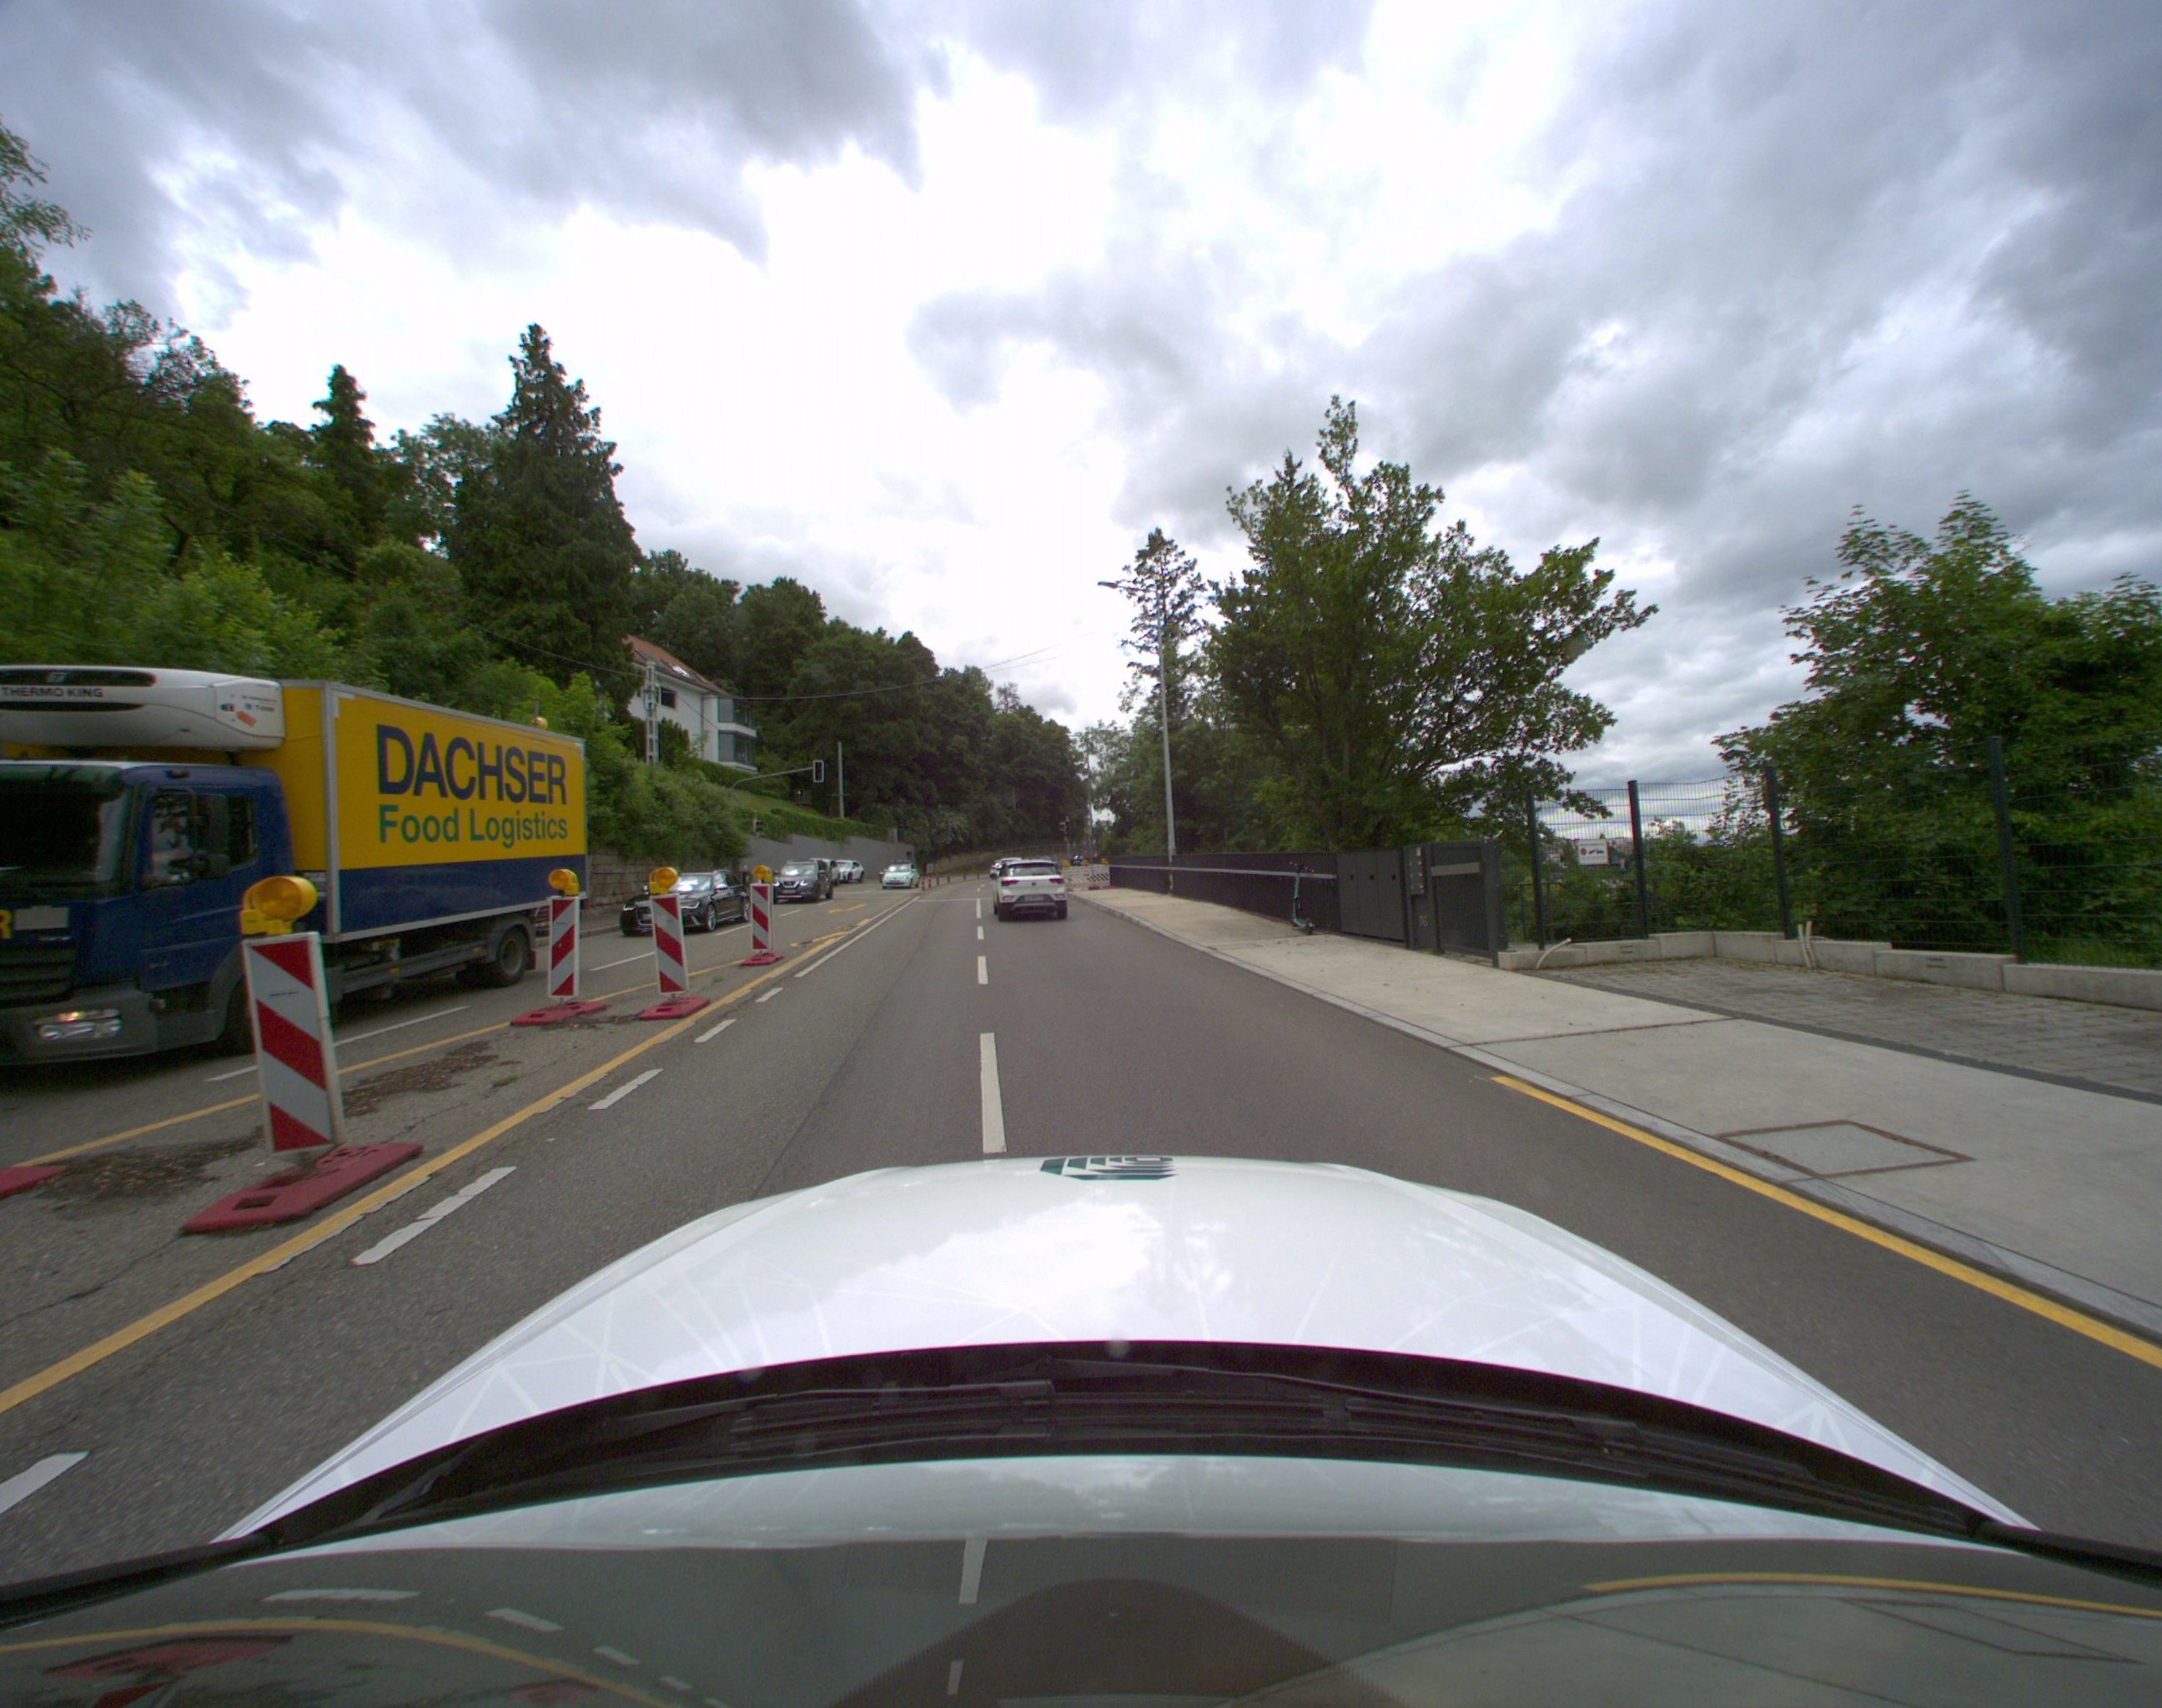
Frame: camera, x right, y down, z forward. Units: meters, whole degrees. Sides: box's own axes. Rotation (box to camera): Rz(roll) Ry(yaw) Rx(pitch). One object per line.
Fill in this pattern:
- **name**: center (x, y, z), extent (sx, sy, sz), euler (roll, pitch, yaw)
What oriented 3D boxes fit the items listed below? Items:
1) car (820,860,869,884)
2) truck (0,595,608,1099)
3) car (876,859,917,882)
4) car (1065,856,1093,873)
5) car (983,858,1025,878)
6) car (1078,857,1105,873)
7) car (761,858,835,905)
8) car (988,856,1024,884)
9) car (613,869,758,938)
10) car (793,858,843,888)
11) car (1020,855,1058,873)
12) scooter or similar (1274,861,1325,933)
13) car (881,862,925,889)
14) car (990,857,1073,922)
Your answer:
- **car**: center (-15.872, 1.202, 54.814), extent (1.826, 1.573, 4.477), euler (0, -1, 2)
- **truck**: center (-8.534, 0.004, 9.226), extent (2.728, 3.510, 7.331), euler (-2, -1, -7)
- **car**: center (-12.921, 1.137, 57.290), extent (1.703, 1.466, 3.666), euler (0, 0, 5)
- **car**: center (-0.154, 1.070, 82.987), extent (1.802, 1.690, 4.016), euler (0, -1, 15)
- **car**: center (-5.956, 1.083, 63.559), extent (1.892, 1.574, 4.016), euler (0, -1, 16)
- **car**: center (1.198, 1.214, 88.280), extent (1.801, 1.690, 4.018), euler (-1, -1, 17)
- **car**: center (-11.270, 1.046, 32.742), extent (1.882, 1.697, 4.659), euler (-1, 0, -8)
- **car**: center (-4.486, 0.946, 49.430), extent (1.989, 1.586, 3.996), euler (0, -1, -3)
- **car**: center (-9.738, 1.137, 20.512), extent (1.808, 1.430, 4.862), euler (-1, 0, -7)
- **car**: center (-15.783, 1.104, 49.082), extent (1.856, 1.731, 4.752), euler (1, -1, -5)
- **car**: center (-3.774, 0.889, 73.456), extent (1.976, 1.541, 4.031), euler (-1, -1, 21)
- **scooter or similar**: center (3.980, 0.760, 14.911), extent (0.533, 1.226, 1.206), euler (-3, 1, -1)
- **car**: center (-10.251, 1.198, 47.139), extent (1.705, 1.466, 3.661), euler (0, 0, 1)
- **car**: center (-1.428, 0.879, 21.915), extent (1.866, 1.536, 3.792), euler (-1, 0, -9)
